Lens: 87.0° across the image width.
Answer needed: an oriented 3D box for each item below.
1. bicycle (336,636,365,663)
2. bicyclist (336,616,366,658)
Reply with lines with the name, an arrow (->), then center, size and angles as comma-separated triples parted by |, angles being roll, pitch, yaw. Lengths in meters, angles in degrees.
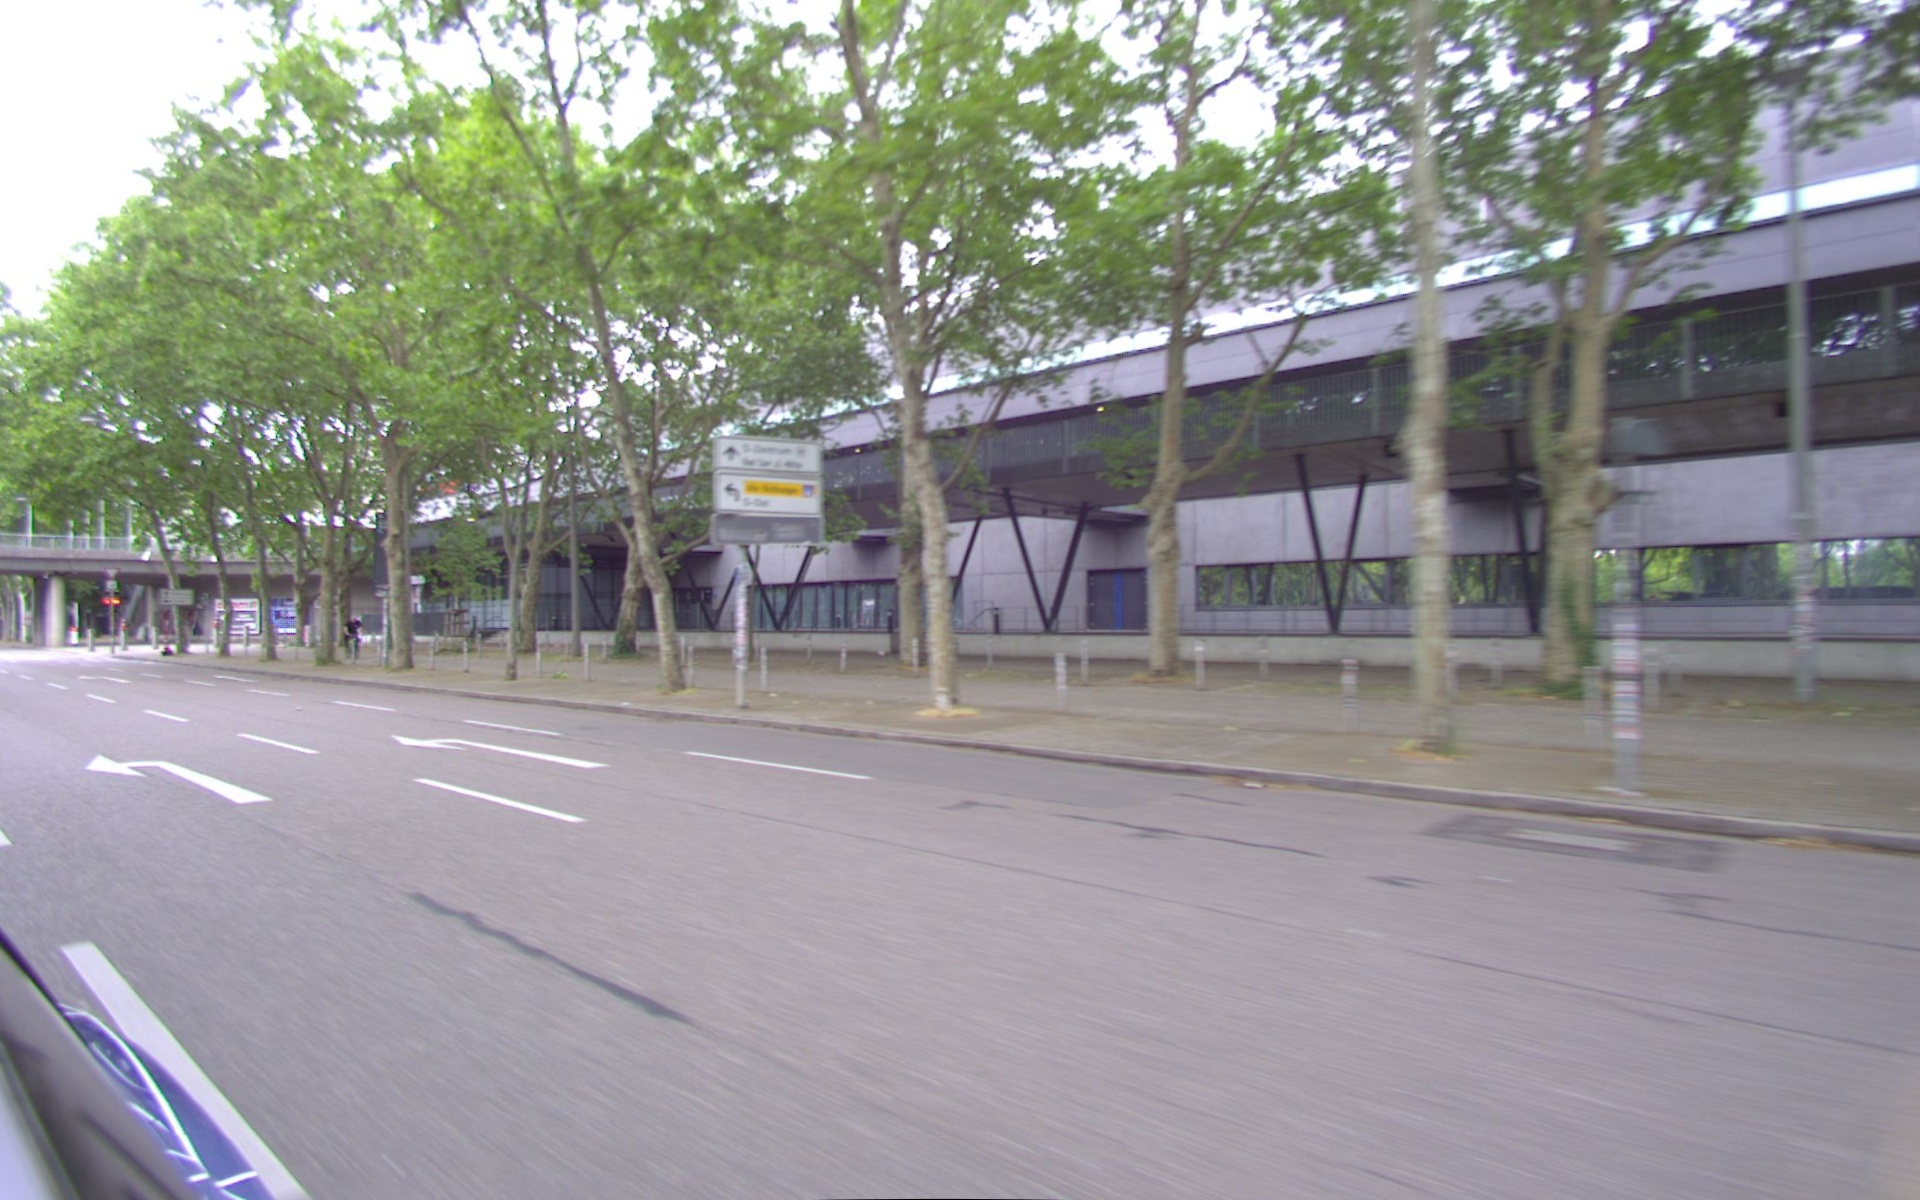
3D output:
bicycle -> -24.853, 2.000, 41.247 | 1.536, 1.021, 0.510 | 1, -2, 40
bicyclist -> -24.842, 1.504, 41.265 | 0.853, 1.710, 0.757 | 0, -2, 39
